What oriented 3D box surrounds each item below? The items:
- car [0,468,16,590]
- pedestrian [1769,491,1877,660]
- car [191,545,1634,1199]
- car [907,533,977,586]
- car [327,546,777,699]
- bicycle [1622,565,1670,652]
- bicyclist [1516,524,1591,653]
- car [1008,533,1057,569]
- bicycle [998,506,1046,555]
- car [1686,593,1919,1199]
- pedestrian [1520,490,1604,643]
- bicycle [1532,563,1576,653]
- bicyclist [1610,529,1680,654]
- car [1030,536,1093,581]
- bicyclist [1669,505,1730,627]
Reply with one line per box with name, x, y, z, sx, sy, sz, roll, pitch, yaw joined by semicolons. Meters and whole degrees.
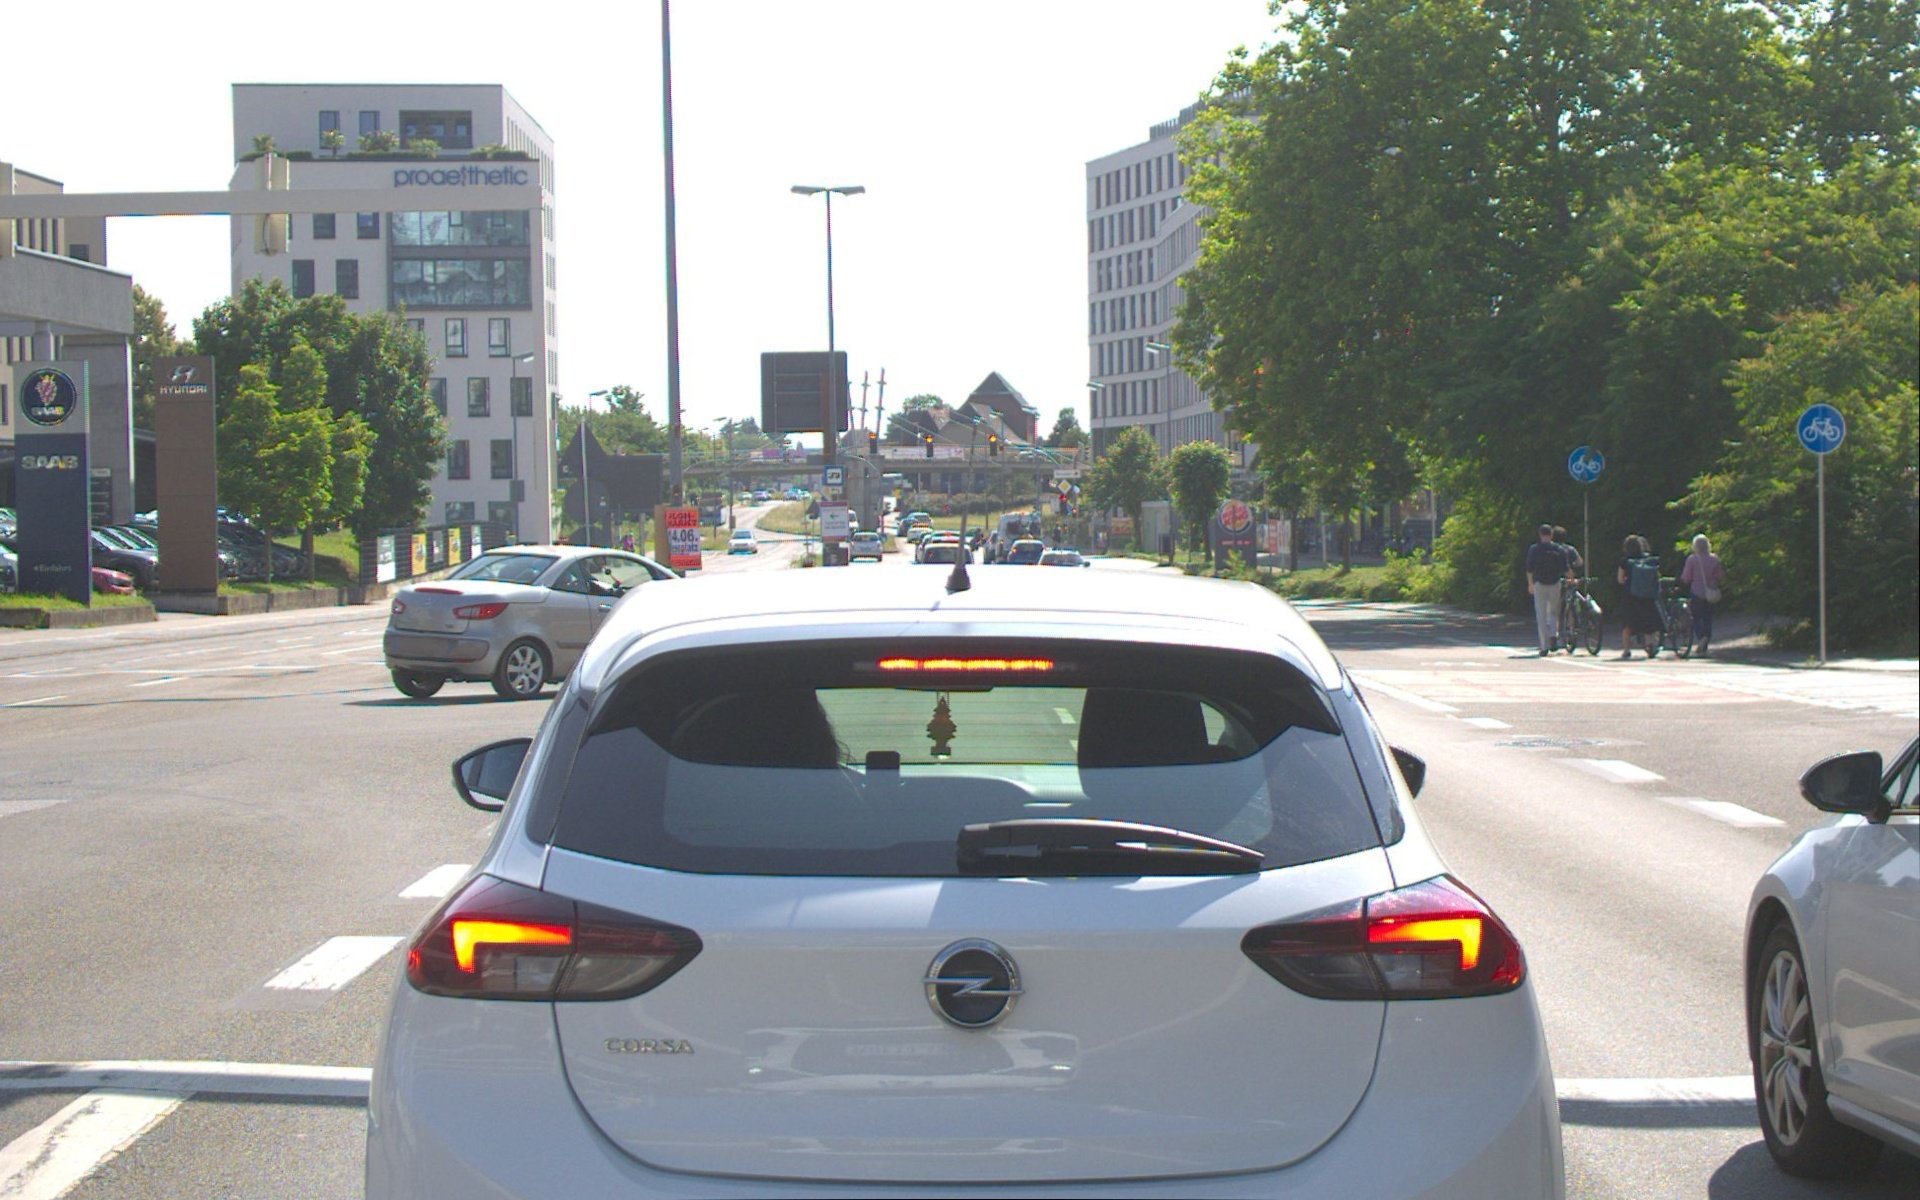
car;-22.555;-1.477;73.050;4.357;2.592;2.000;-1;1;5
pedestrian;10.469;-0.303;41.731;1.027;2.007;1.039;-1;1;-1
car;-0.080;0.659;6.267;1.779;1.489;4.000;-1;1;-1
car;-0.521;-1.112;94.221;1.806;1.381;4.000;2;1;-1
car;-3.954;0.173;33.715;3.990;1.327;1.999;-2;3;-45
bicycle;9.177;0.108;46.032;0.373;1.143;1.034;1;0;-3
bicyclist;8.221;-0.163;47.637;0.879;1.766;0.864;-1;1;0
car;2.899;-1.954;137.528;1.806;1.381;4.000;1;0;-1
bicycle;2.780;-3.142;155.445;1.993;2.150;4.000;-1;1;-1
car;2.857;0.709;6.864;1.807;1.424;4.000;-1;1;-2
pedestrian;8.913;-0.500;50.896;1.027;2.231;1.039;-1;1;-1
bicycle;8.224;0.104;47.614;0.372;1.212;1.154;1;1;-1
bicyclist;9.158;-0.121;45.982;0.688;1.637;0.777;-1;1;-9
car;3.219;-1.320;109.467;1.806;1.381;4.000;1;0;-1
bicyclist;9.994;-0.458;46.477;0.652;1.631;0.659;1;0;0
